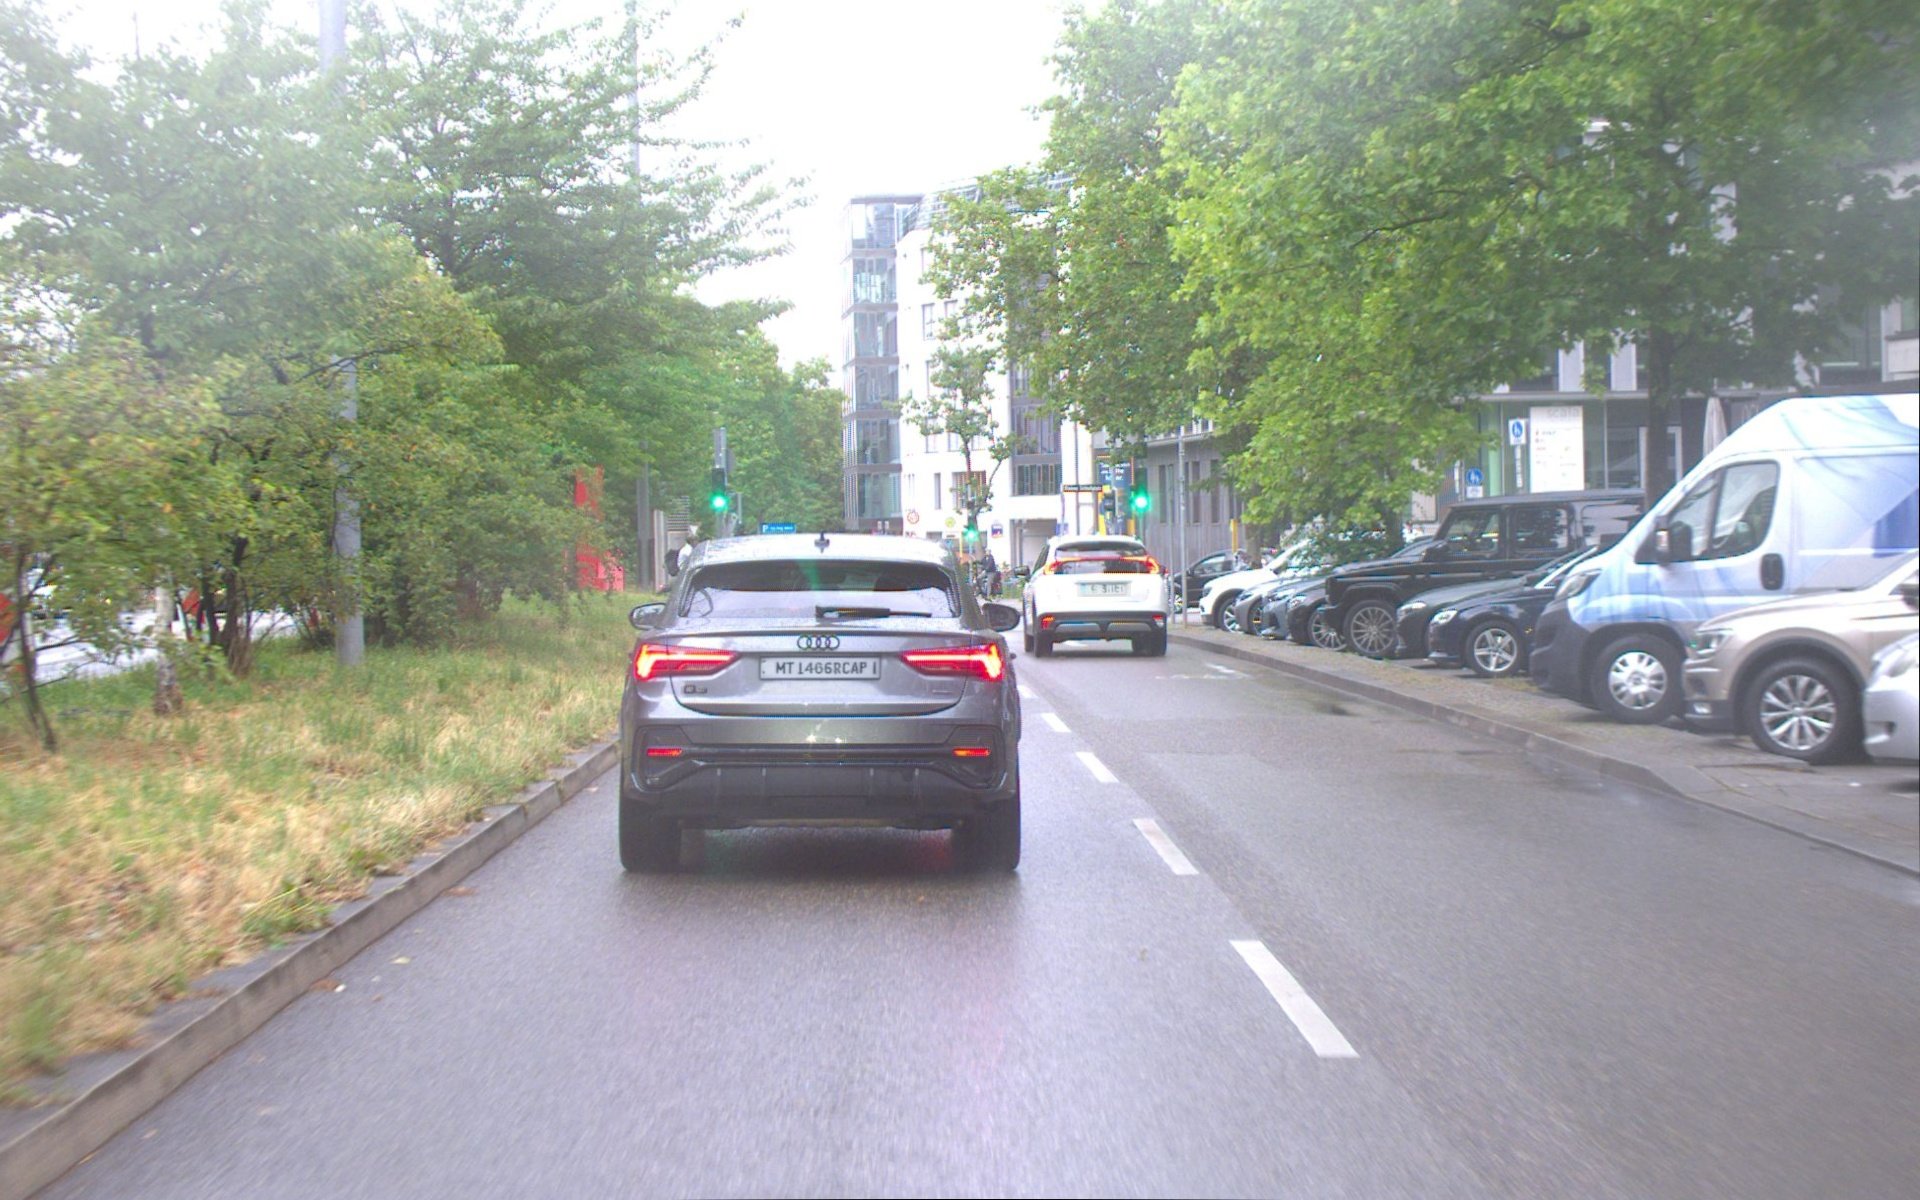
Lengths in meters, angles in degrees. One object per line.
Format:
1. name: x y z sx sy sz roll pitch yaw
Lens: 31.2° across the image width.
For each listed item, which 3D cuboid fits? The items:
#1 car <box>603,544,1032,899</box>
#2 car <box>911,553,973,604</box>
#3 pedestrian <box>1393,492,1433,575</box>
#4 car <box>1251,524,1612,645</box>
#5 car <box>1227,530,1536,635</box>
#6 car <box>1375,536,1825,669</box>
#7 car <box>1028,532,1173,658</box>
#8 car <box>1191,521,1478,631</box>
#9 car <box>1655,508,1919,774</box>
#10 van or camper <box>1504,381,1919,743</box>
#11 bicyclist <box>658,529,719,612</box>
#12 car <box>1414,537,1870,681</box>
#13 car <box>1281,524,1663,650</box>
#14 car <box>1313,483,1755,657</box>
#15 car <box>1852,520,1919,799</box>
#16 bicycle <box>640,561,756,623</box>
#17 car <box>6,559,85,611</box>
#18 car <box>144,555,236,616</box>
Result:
1. car: -0.640 0.492 16.884 1.849 1.518 4.039 0 1 -1
2. car: -0.528 -0.654 104.044 1.849 1.518 4.039 0 1 0
3. pedestrian: 11.659 -1.706 88.470 0.936 2.108 1.075 0 0 11
4. car: 6.608 -0.224 48.016 4.777 1.528 1.868 -1 1 14
5. car: 6.464 -0.267 52.793 4.300 1.483 1.840 -1 1 29
6. car: 7.219 0.037 38.867 4.629 1.390 1.844 -1 0 28
7. car: 1.903 -0.090 47.692 1.849 1.663 4.039 0 1 0
8. car: 6.079 -0.390 55.912 4.223 1.663 1.836 -1 1 27
9. car: 6.797 0.246 22.058 4.262 1.662 1.816 0 1 26
10. van or camper: 7.242 -0.285 25.142 6.074 2.549 2.102 0 1 27
11. bicyclist: -5.478 -0.592 69.389 1.104 1.616 0.751 2 0 -1
12. car: 7.136 0.090 36.024 4.371 1.431 1.759 0 1 26
13. car: 6.670 -0.165 44.838 4.560 1.501 1.867 -1 1 24
14. car: 7.006 -0.360 42.049 4.943 1.972 1.927 -1 1 26
15. car: 6.954 0.322 19.269 3.652 1.542 1.713 0 1 19
16. bicycle: -5.287 -0.164 69.387 2.254 1.158 0.751 2 0 -1
17. car: -27.027 -0.448 101.710 1.725 1.446 3.593 -2 0 -7
18. car: -18.229 -0.360 81.522 1.805 1.306 4.001 -3 1 -9
